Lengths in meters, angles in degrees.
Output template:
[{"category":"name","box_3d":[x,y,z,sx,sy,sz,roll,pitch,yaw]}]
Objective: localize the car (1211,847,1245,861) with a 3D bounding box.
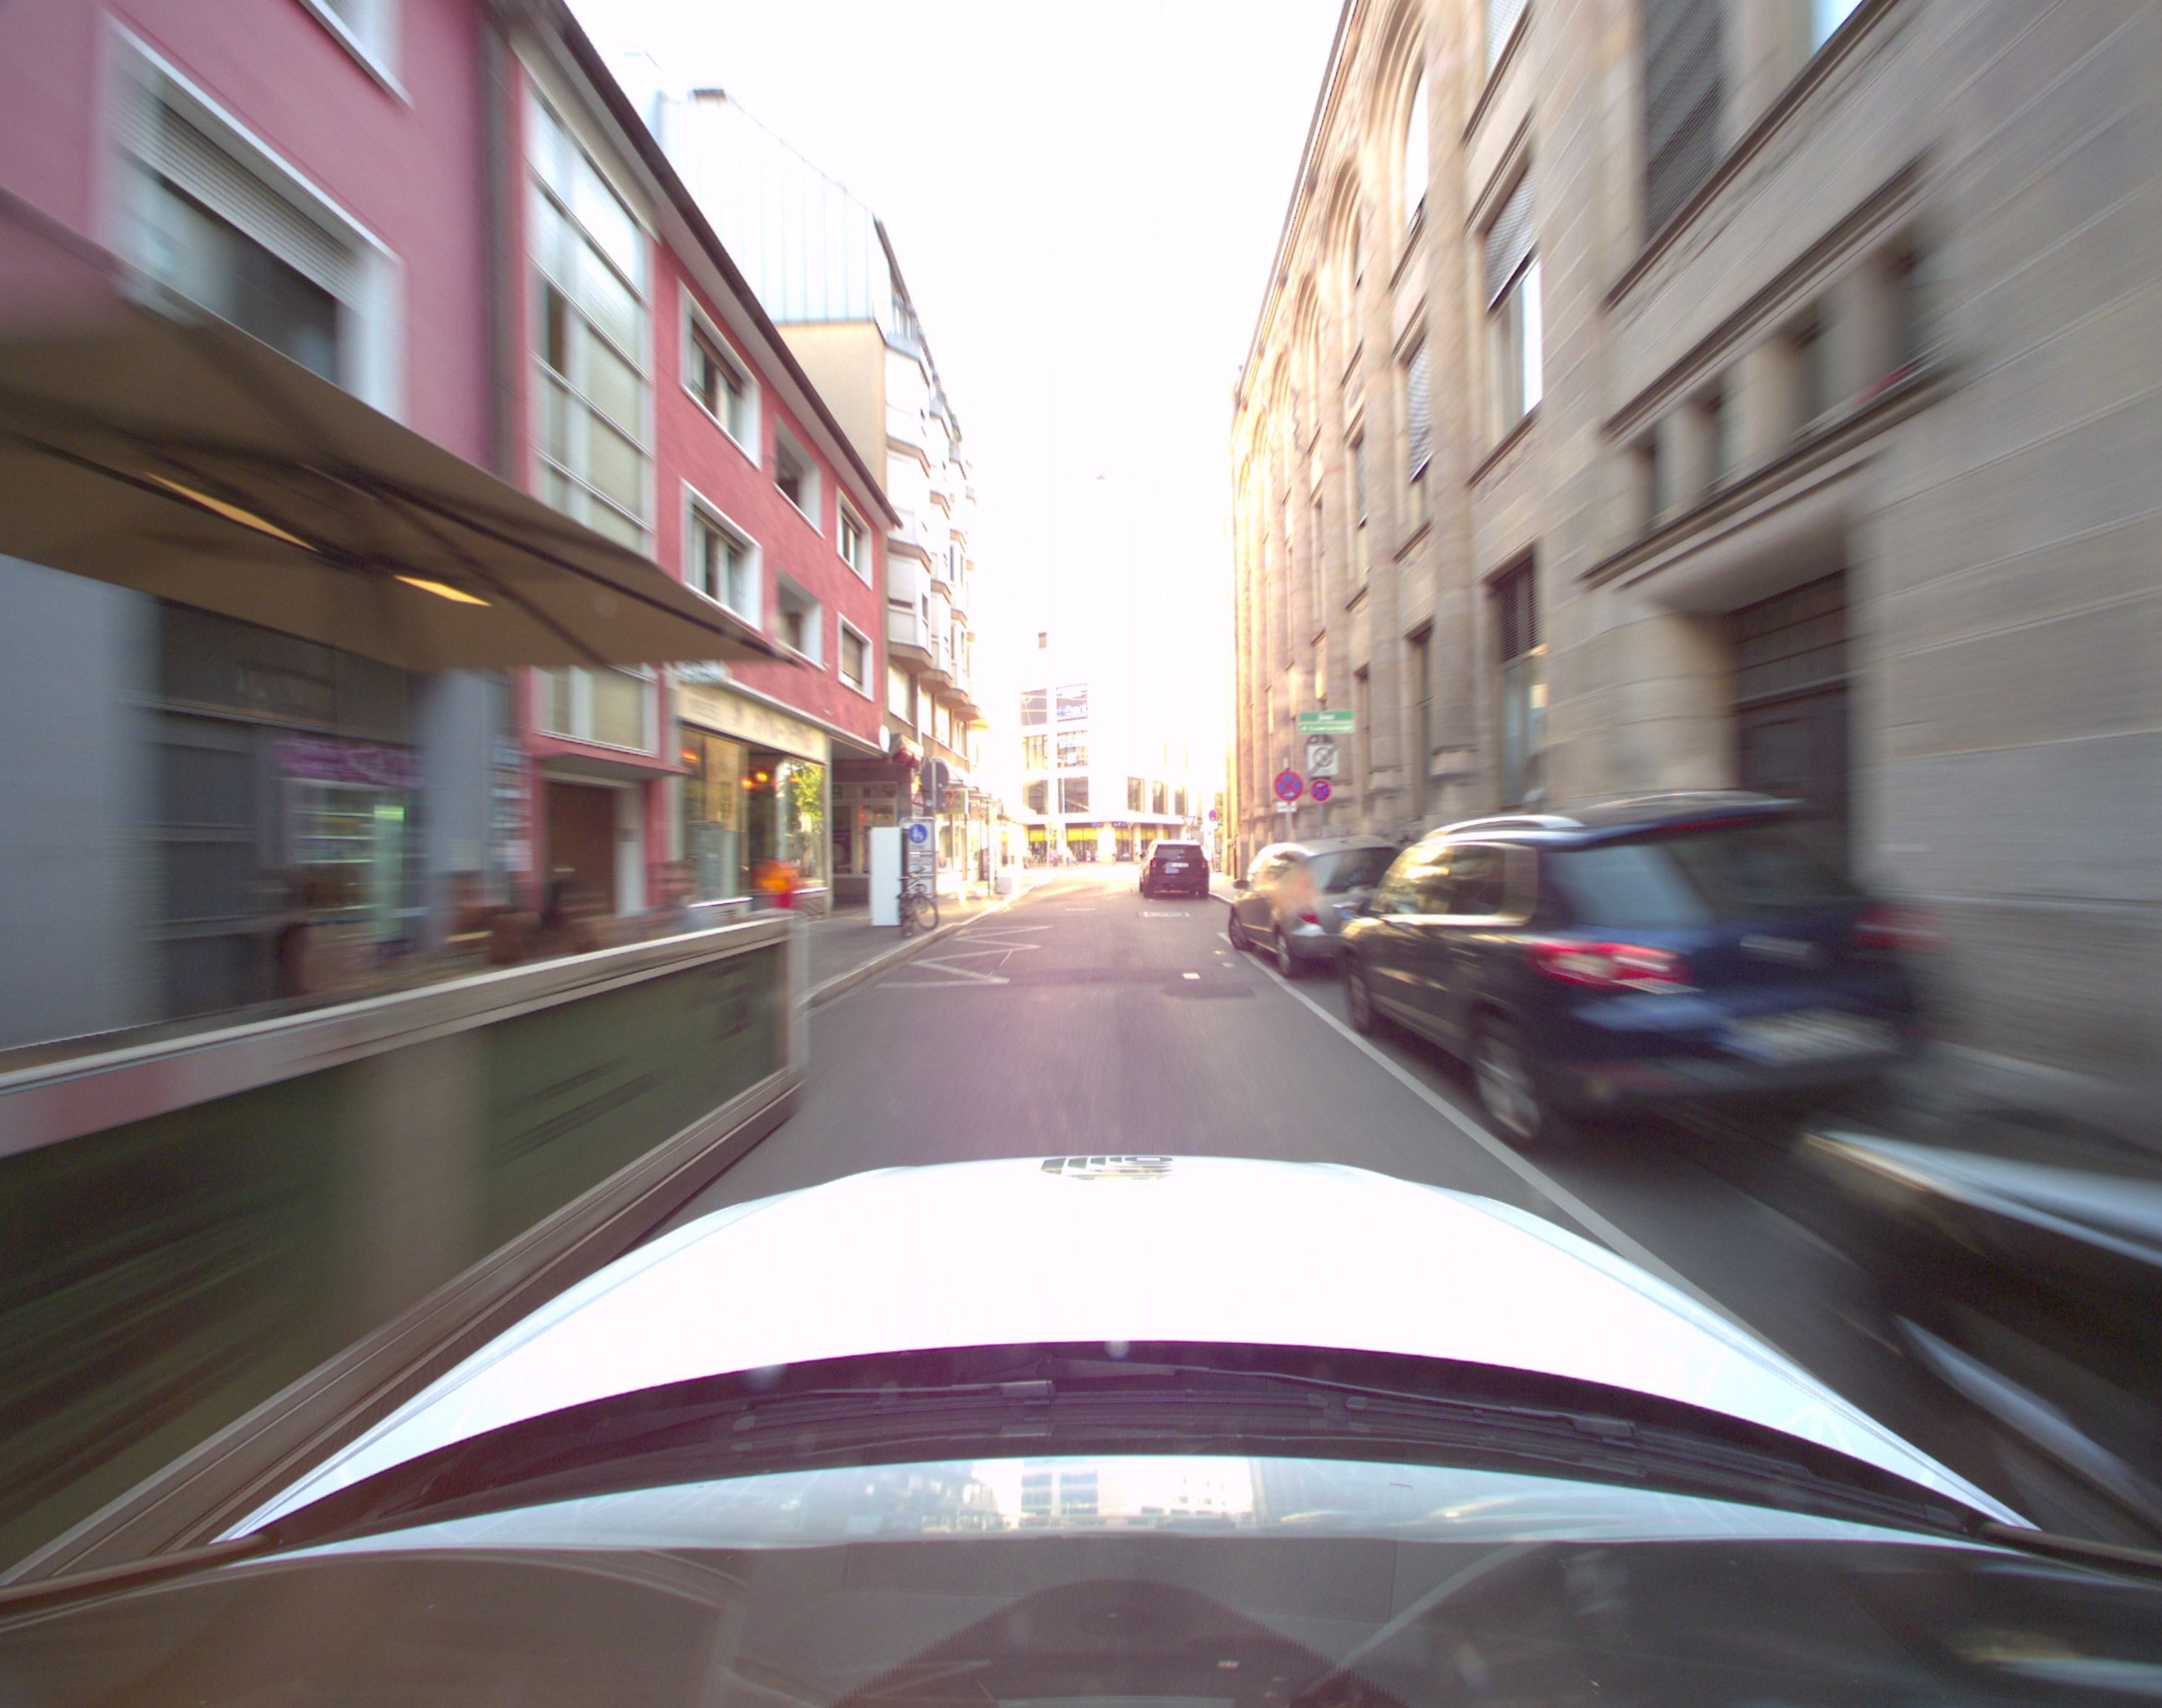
[{"category":"car","box_3d":[16.542,-0.021,91.469,1.865,1.598,4.719,-1,0,35]}]

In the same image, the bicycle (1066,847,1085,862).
[{"category":"bicycle","box_3d":[-0.454,0.028,69.903,0.657,1.255,2.154,0,0,29]}]

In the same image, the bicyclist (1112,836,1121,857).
[{"category":"bicyclist","box_3d":[2.913,-0.612,67.444,0.680,1.695,0.644,-1,0,-2]}]

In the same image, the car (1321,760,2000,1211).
[{"category":"car","box_3d":[2.955,0.510,5.409,1.663,1.806,4.243,0,0,3]}]

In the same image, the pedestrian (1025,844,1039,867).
[{"category":"pedestrian","box_3d":[-3.595,0.117,59.383,0.872,1.658,0.615,0,0,-18]}]

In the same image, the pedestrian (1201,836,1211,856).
[{"category":"pedestrian","box_3d":[10.468,-0.684,68.431,0.697,1.670,0.645,-1,1,19]}]

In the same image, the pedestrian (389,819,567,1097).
[{"category":"pedestrian","box_3d":[-3.386,0.549,4.621,0.609,1.472,0.546,0,0,-6]}]

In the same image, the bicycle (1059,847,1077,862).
[{"category":"bicycle","box_3d":[-1.134,0.051,70.244,0.575,1.255,2.057,0,0,29]}]

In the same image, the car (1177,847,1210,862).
[{"category":"car","box_3d":[11.632,0.057,83.958,1.760,1.453,4.257,-1,0,32]}]

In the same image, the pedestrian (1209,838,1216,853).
[{"category":"pedestrian","box_3d":[15.276,-0.973,94.704,0.665,1.675,0.651,0,0,30]}]

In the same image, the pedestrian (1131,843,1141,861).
[{"category":"pedestrian","box_3d":[5.315,-0.156,78.449,0.665,1.744,0.651,-1,0,33]}]

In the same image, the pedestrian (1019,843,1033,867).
[{"category":"pedestrian","box_3d":[-3.803,0.086,56.340,0.727,1.613,0.808,-1,0,13]}]

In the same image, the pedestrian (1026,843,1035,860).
[{"category":"pedestrian","box_3d":[-4.952,-0.238,79.334,0.638,1.723,0.839,-1,0,-22]}]

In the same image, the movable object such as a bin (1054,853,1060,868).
[{"category":"movable object such as a bin","box_3d":[-1.656,0.431,57.084,0.359,1.063,0.355,-1,0,-9]}]

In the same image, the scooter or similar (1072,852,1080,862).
[{"category":"scooter or similar","box_3d":[-0.424,0.231,71.510,0.383,0.884,0.775,0,0,31]}]

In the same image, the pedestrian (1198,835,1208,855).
[{"category":"pedestrian","box_3d":[10.378,-0.736,69.320,0.697,1.670,0.645,-1,1,19]}]

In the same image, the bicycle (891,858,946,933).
[{"category":"bicycle","box_3d":[-2.813,0.686,14.270,0.541,1.192,1.843,0,0,2]}]

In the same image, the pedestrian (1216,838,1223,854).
[{"category":"pedestrian","box_3d":[16.017,-0.972,94.226,0.665,1.836,0.651,0,0,30]}]

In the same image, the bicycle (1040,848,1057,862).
[{"category":"bicycle","box_3d":[-2.827,0.093,71.298,0.507,1.255,1.991,0,0,31]}]

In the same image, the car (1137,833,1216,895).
[{"category":"car","box_3d":[2.944,0.263,26.082,1.987,1.783,4.935,-1,0,1]}]

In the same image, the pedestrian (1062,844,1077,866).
[{"category":"pedestrian","box_3d":[-0.841,0.057,58.717,0.807,1.613,0.728,-1,0,-27]}]

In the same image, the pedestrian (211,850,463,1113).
[{"category":"pedestrian","box_3d":[-3.251,0.517,3.612,0.609,1.063,0.546,0,0,-6]}]

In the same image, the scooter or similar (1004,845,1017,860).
[{"category":"scooter or similar","box_3d":[-6.121,-0.122,70.570,0.383,1.260,1.279,0,0,31]}]

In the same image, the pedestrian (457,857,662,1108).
[{"category":"pedestrian","box_3d":[-2.367,0.544,3.758,0.609,1.063,0.546,0,0,-6]}]

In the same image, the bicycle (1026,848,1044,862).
[{"category":"bicycle","box_3d":[-4.038,0.079,72.035,0.507,1.255,1.991,0,0,31]}]

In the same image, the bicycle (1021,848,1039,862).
[{"category":"bicycle","box_3d":[-4.501,0.081,72.360,0.507,1.255,1.991,0,0,31]}]

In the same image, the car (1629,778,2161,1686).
[{"category":"car","box_3d":[2.605,0.636,0.231,1.683,1.516,4.993,0,0,2]}]

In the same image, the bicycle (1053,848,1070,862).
[{"category":"bicycle","box_3d":[-1.704,0.079,70.521,0.507,1.255,1.991,0,0,29]}]

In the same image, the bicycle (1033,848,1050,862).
[{"category":"bicycle","box_3d":[-3.472,0.086,71.734,0.507,1.255,1.991,0,0,30]}]

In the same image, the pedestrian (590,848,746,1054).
[{"category":"pedestrian","box_3d":[-2.263,0.503,4.525,0.609,1.063,0.546,0,0,-6]}]

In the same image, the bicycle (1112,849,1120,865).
[{"category":"bicycle","box_3d":[2.882,0.262,67.599,0.608,1.255,1.978,0,0,0]}]

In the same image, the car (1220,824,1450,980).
[{"category":"car","box_3d":[3.124,0.512,10.909,1.768,1.666,3.998,-1,0,-1]}]
